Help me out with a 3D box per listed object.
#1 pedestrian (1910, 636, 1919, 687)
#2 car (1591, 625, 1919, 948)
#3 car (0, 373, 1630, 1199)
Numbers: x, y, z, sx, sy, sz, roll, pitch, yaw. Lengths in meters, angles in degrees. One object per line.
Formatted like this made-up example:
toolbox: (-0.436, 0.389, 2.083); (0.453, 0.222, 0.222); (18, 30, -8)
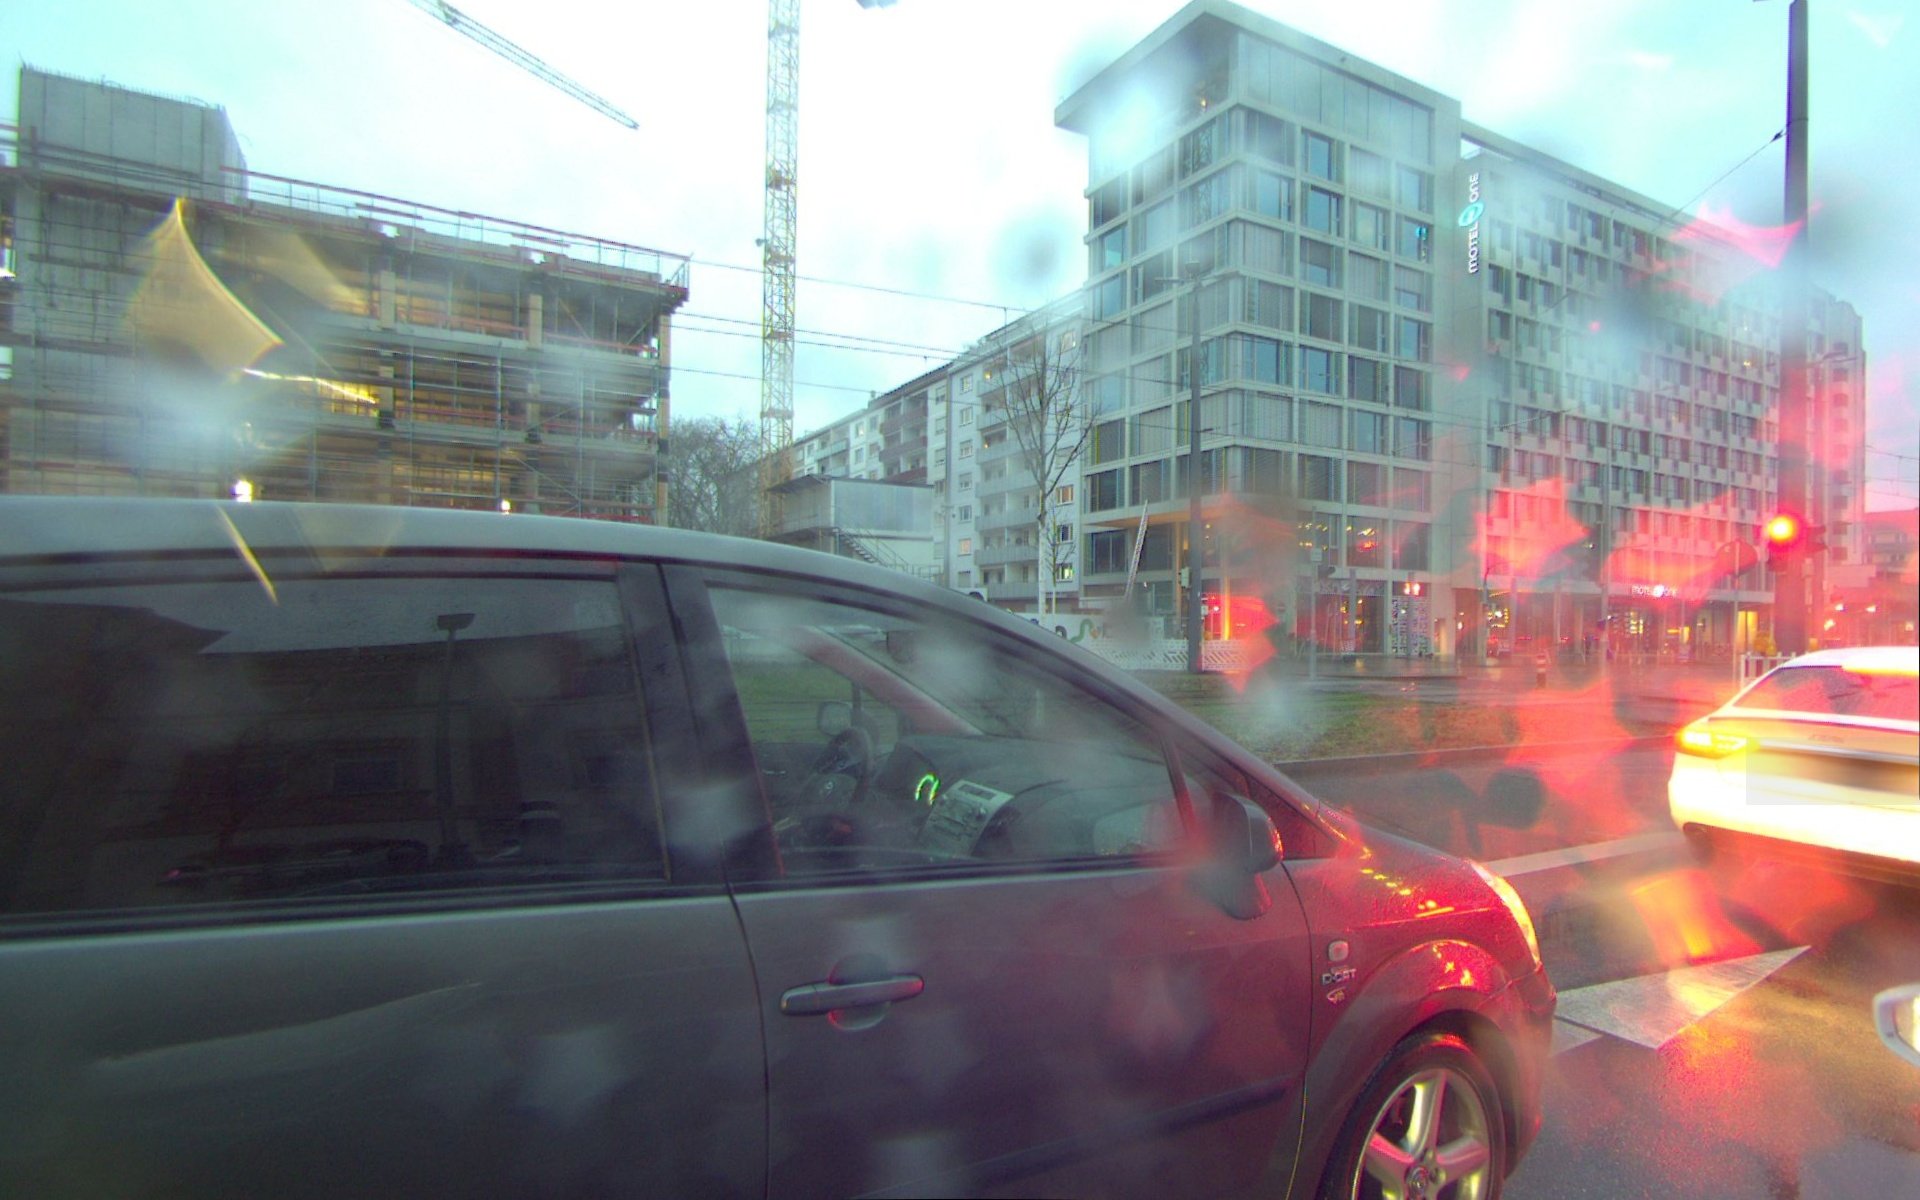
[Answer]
pedestrian: (32.802, 2.098, 34.051); (0.808, 1.734, 0.782); (2, 0, -45)
car: (6.065, 0.929, 6.233); (4.320, 1.475, 1.983); (1, 0, -32)
car: (-0.560, 0.652, 2.138); (4.089, 1.668, 1.801); (1, 0, -32)
